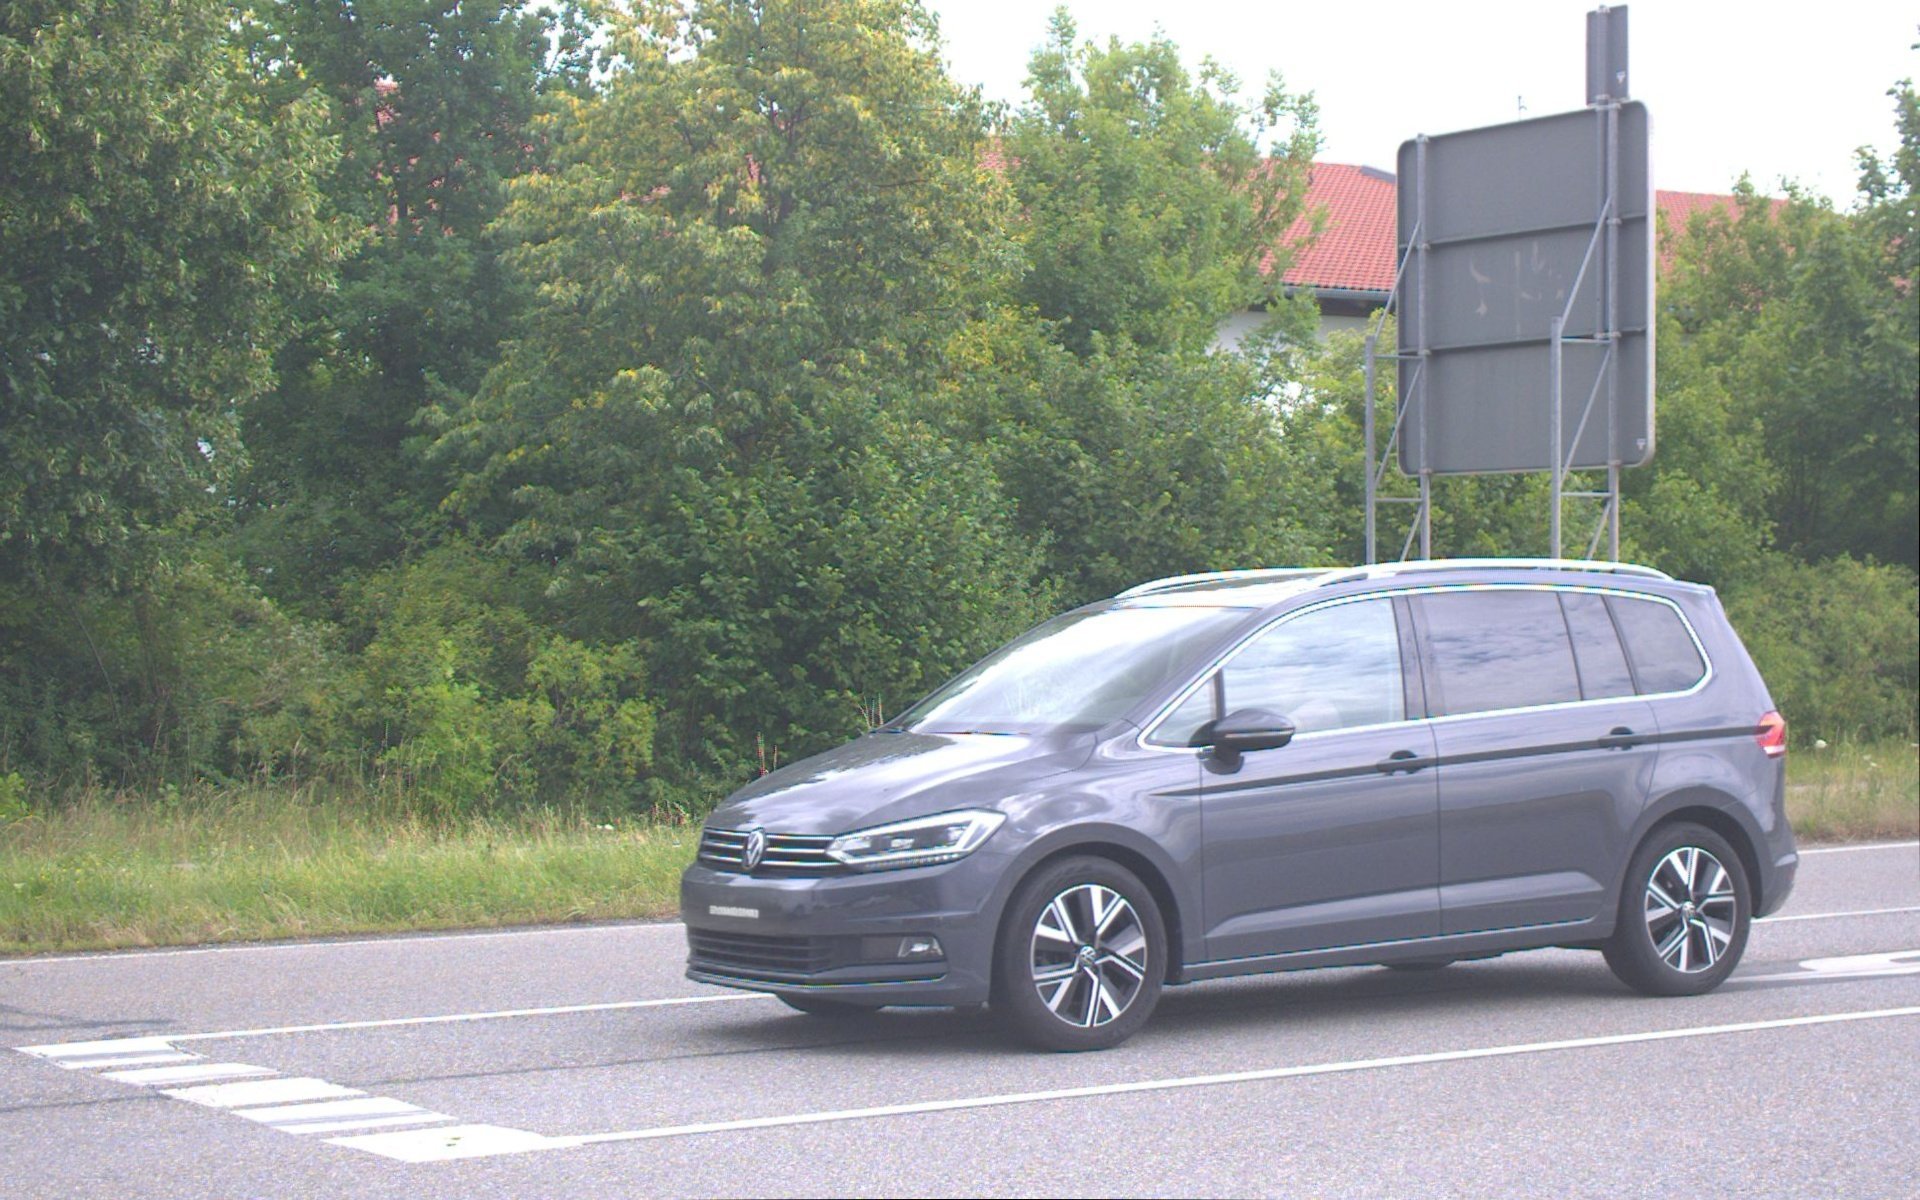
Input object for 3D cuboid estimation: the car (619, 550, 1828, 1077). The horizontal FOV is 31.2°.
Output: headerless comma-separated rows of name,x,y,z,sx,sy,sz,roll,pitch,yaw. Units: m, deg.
car,1.057,0.674,12.797,4.277,1.653,1.753,-1,-1,-33
